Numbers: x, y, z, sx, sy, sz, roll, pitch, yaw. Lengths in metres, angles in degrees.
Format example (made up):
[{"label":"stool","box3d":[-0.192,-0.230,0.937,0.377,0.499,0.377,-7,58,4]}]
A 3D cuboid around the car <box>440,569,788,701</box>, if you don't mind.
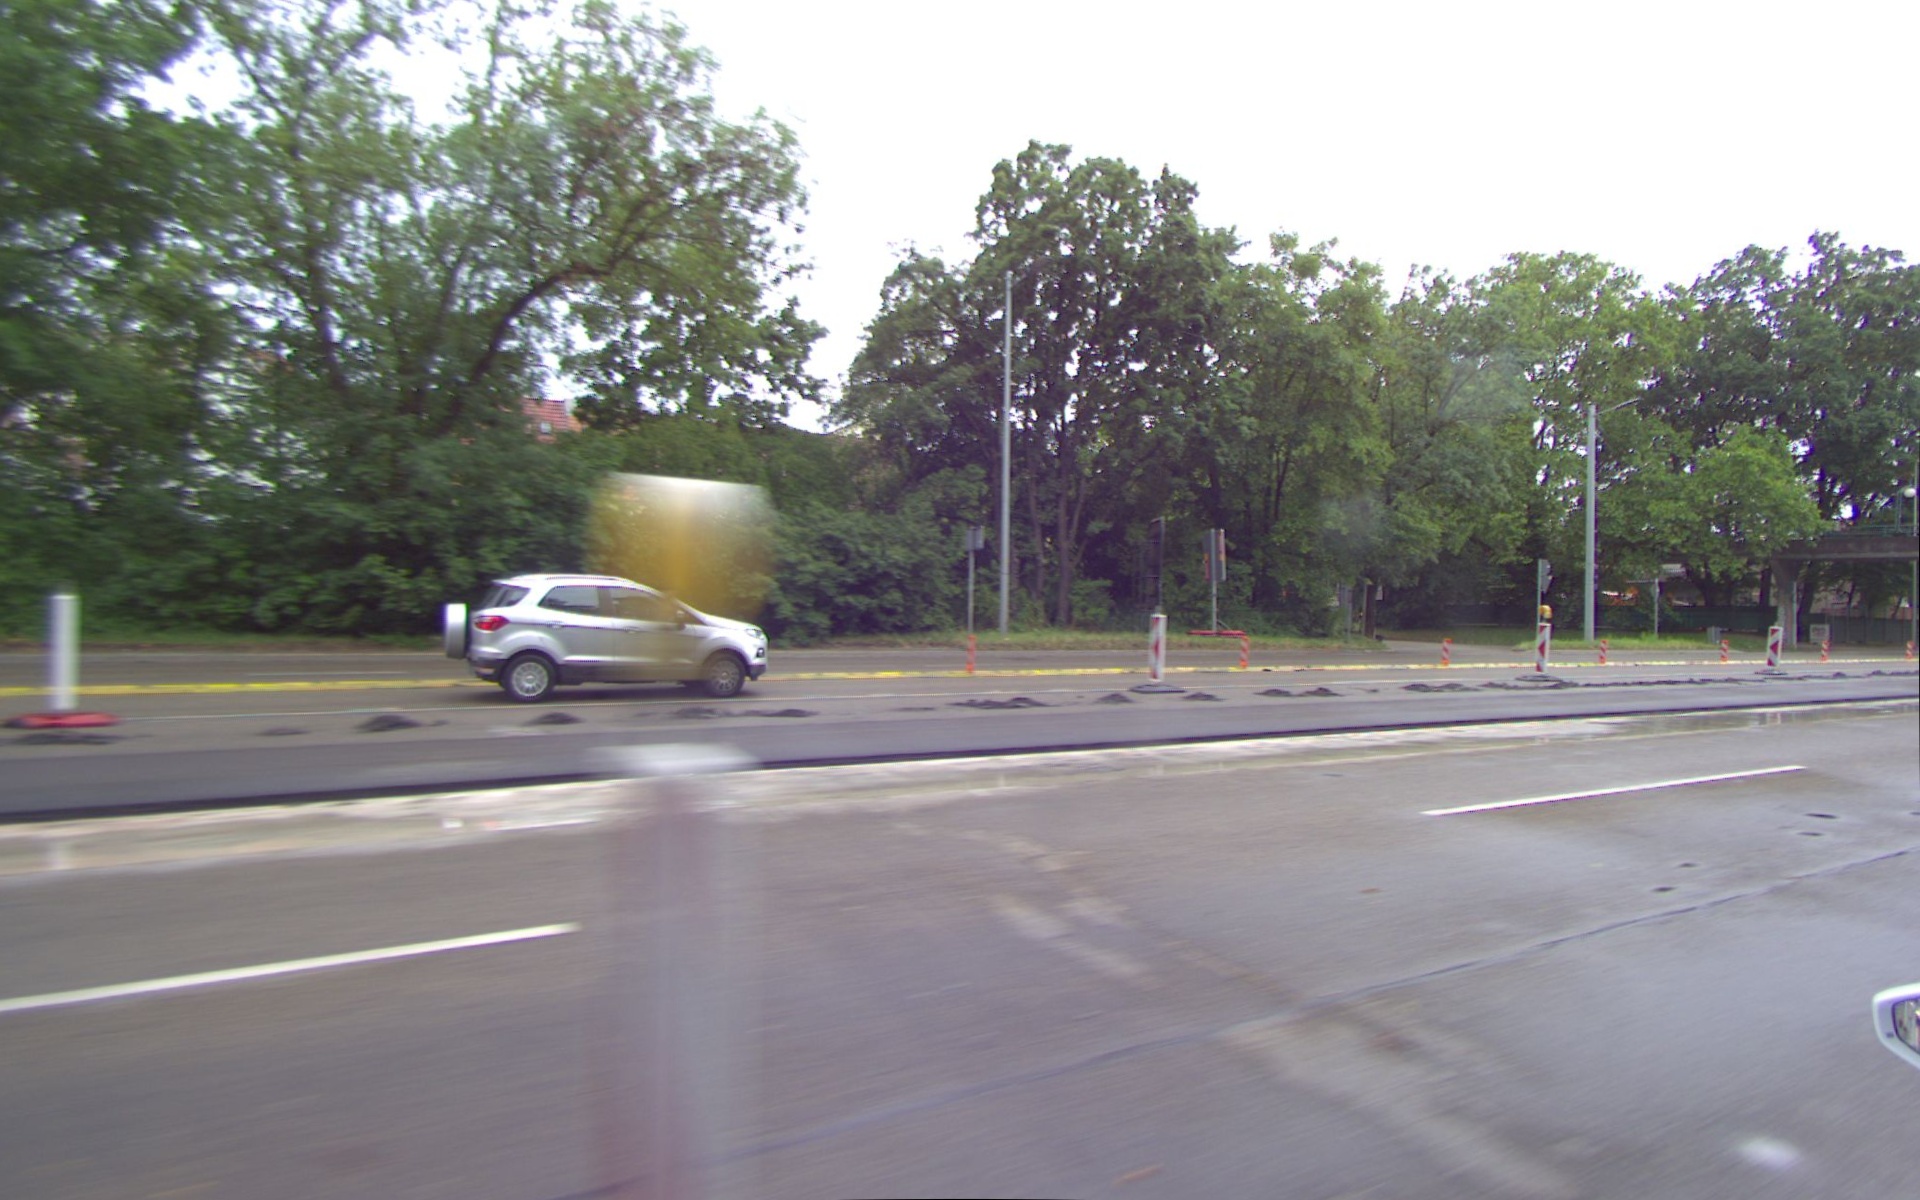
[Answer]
[{"label":"car","box3d":[-4.770,0.433,13.932,4.310,1.585,1.880,1,1,-29]}]
